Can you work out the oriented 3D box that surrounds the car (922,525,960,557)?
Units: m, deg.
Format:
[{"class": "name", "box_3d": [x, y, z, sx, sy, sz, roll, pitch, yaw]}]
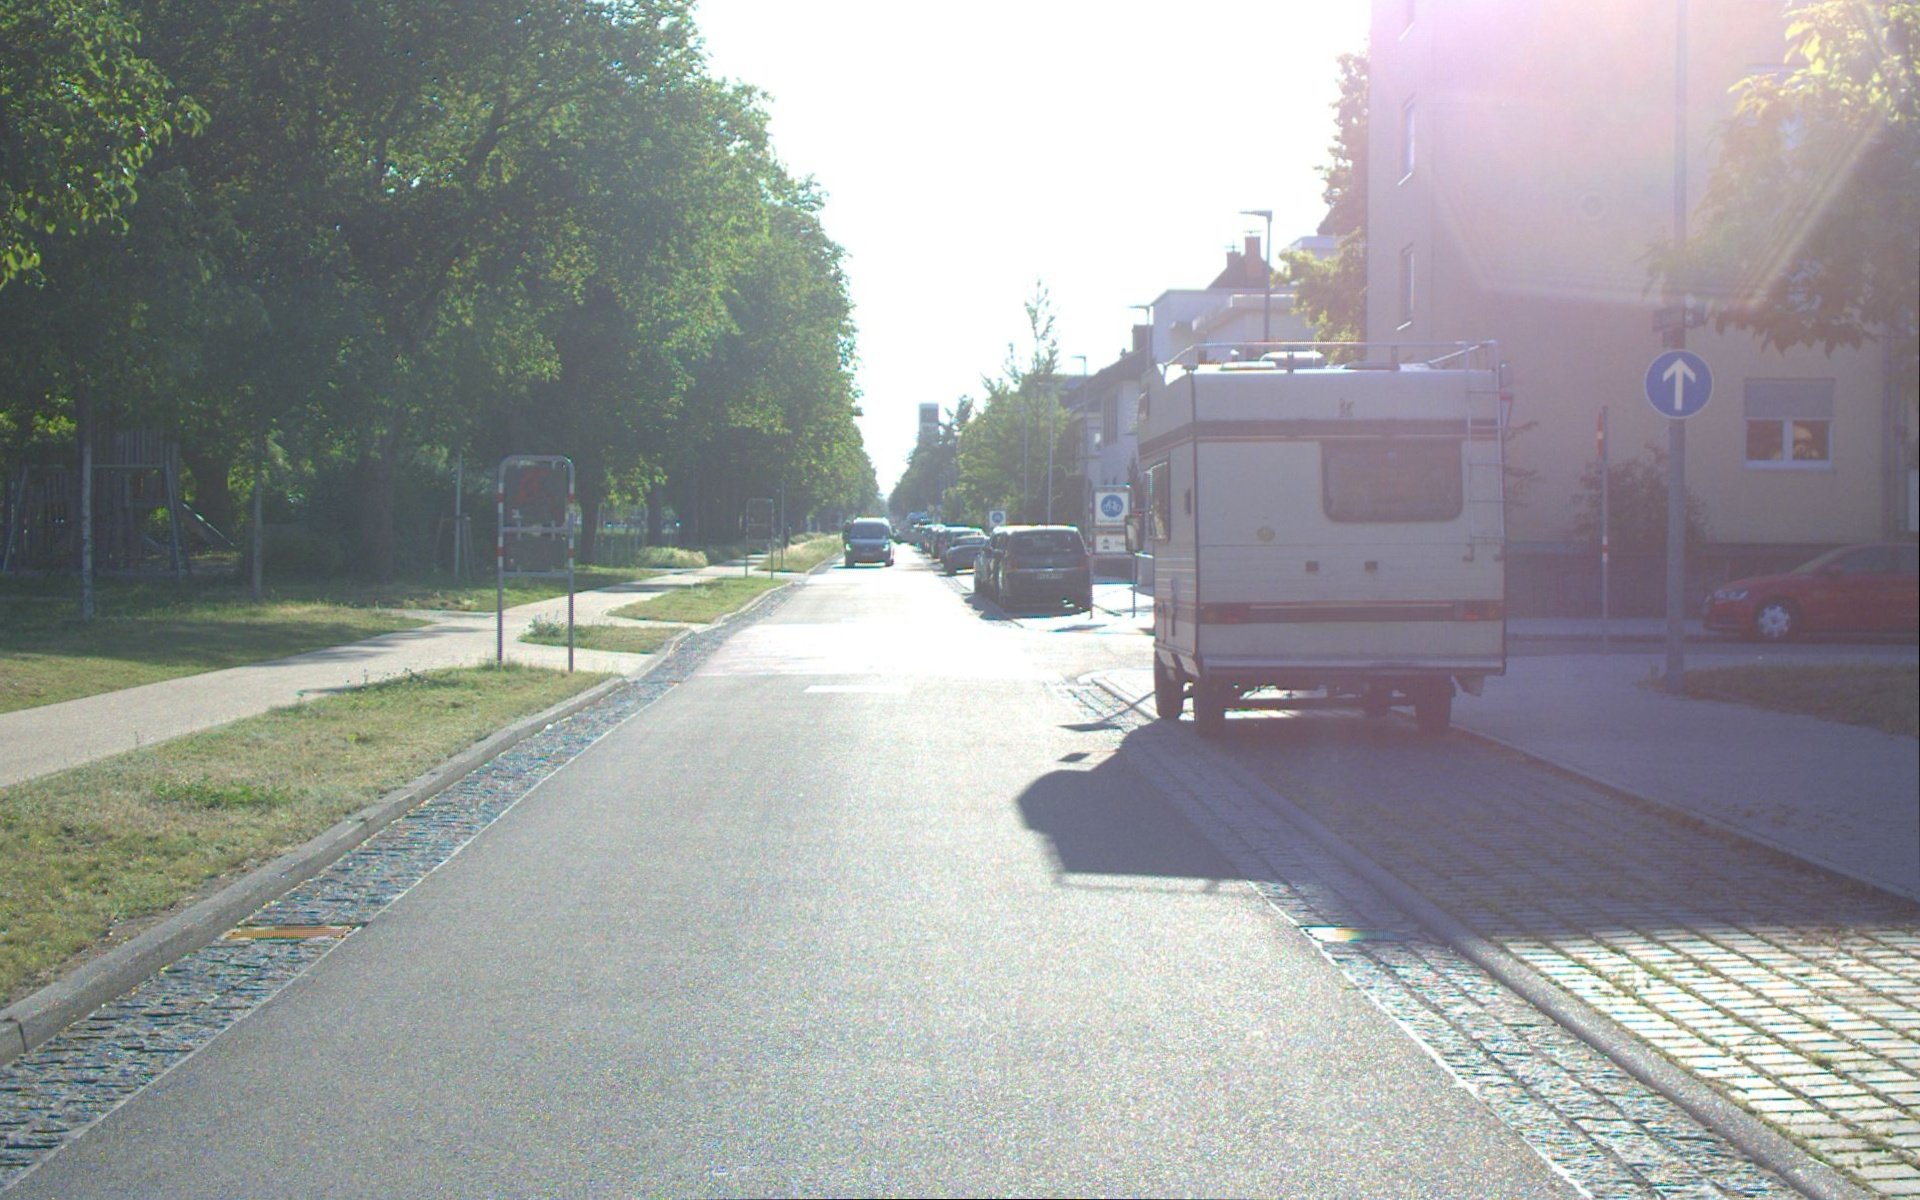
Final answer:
[{"class": "car", "box_3d": [-0.857, -2.605, 152.571, 1.626, 1.405, 4.250, 0, 1, -1]}]

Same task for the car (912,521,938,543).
[{"class": "car", "box_3d": [-2.239, -4.385, 221.074, 1.626, 1.405, 4.250, 0, 1, -1]}]

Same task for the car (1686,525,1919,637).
[{"class": "car", "box_3d": [12.448, -0.278, 48.167, 4.195, 1.525, 2.000, 0, 1, 3]}]

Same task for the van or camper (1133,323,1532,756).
[{"class": "van or camper", "box_3d": [2.638, -0.405, 25.847, 2.234, 2.894, 5.673, 0, 0, -1]}]

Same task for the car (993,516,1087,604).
[{"class": "car", "box_3d": [1.544, -0.792, 67.472, 1.626, 1.663, 4.250, 0, 1, -1]}]

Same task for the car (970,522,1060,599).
[{"class": "car", "box_3d": [1.282, -0.912, 78.639, 1.993, 1.711, 4.000, 0, 1, 2]}]

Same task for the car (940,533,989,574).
[{"class": "car", "box_3d": [0.139, -1.640, 121.235, 1.626, 1.405, 4.250, 0, 1, -1]}]

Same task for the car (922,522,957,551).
[{"class": "car", "box_3d": [-1.005, -3.102, 168.567, 1.626, 1.405, 4.250, 0, 1, -1]}]

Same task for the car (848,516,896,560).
[{"class": "car", "box_3d": [-3.397, -2.402, 133.396, 1.825, 1.663, 4.250, 0, 1, -1]}]
